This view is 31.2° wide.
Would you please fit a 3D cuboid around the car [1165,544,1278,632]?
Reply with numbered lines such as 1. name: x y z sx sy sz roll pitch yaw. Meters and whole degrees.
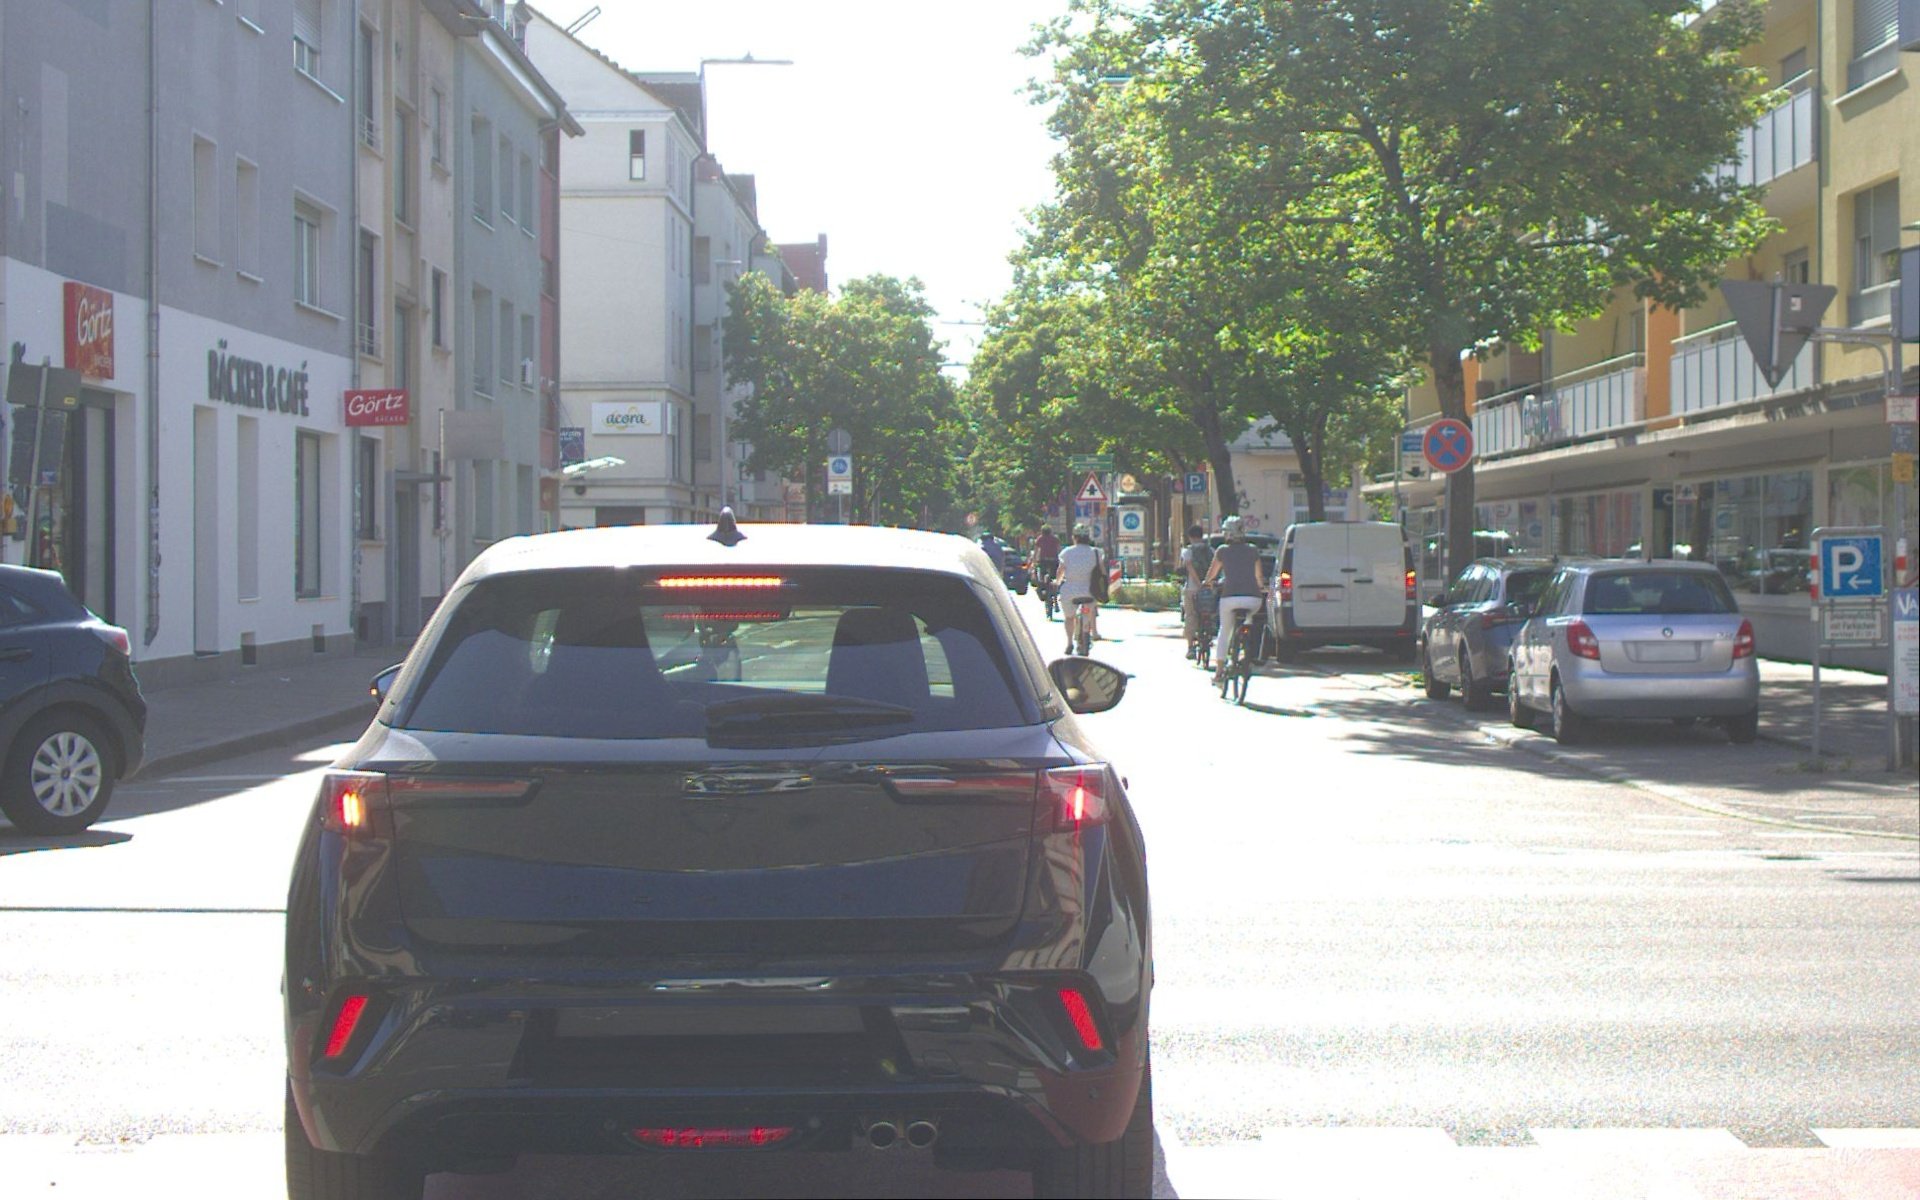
1. car: 4.510 -0.234 59.736 1.712 1.478 3.381 0 1 0

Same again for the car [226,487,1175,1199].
1. car: -0.496 0.542 8.394 1.762 1.553 4.000 0 1 0

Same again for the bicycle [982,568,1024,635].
1. bicycle: 0.689 0.017 55.773 0.632 1.037 1.795 -1 1 0

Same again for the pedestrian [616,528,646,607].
1. pedestrian: -6.546 -0.652 68.409 0.577 1.577 0.708 0 1 -5

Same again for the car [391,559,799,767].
1. car: -2.738 0.436 26.888 1.806 1.408 4.423 -1 1 13

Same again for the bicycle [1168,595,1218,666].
1. bicycle: 2.974 0.384 44.066 0.547 0.863 1.876 0 1 1

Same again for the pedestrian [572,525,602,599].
1. pedestrian: -7.418 -0.754 68.370 0.577 1.462 0.703 0 1 -5

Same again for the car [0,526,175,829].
1. car: -6.149 0.417 17.507 1.595 1.560 4.080 0 1 38

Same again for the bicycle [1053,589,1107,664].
1. bicycle: 1.463 0.318 42.088 0.620 0.863 1.876 0 1 1

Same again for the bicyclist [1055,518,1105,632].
1. bicyclist: 1.468 -0.311 42.138 0.588 1.378 0.823 0 1 1

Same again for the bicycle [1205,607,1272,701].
1. bicycle: 2.767 0.526 34.237 0.547 0.863 1.876 0 1 1

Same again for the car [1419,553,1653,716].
1. car: 5.547 0.298 33.436 1.712 1.478 3.381 0 1 0

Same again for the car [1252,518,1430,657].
1. car: 5.211 -0.210 47.567 2.046 1.840 4.584 0 1 1

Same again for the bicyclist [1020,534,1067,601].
1. bicyclist: 1.663 -0.654 68.786 0.856 1.310 1.210 2 1 0

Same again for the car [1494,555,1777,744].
1. car: 5.627 0.369 29.013 1.712 1.478 3.480 0 1 0

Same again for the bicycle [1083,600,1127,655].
1. bicycle: 2.393 0.442 56.840 0.691 0.863 1.876 0 1 1

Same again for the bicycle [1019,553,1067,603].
1. bicycle: 1.652 -0.452 68.973 0.856 0.941 2.307 2 1 0

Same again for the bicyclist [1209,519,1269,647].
1. bicyclist: 2.763 -0.173 34.112 0.547 1.257 0.803 0 1 1

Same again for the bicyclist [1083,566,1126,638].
1. bicyclist: 2.398 0.030 57.012 0.692 1.189 0.595 0 1 1

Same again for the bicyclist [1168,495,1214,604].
1. bicyclist: 2.954 -0.645 43.966 0.547 1.378 0.823 0 1 1

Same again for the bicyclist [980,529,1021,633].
1. bicyclist: 0.649 -0.310 55.599 0.632 1.663 1.050 -1 1 0
